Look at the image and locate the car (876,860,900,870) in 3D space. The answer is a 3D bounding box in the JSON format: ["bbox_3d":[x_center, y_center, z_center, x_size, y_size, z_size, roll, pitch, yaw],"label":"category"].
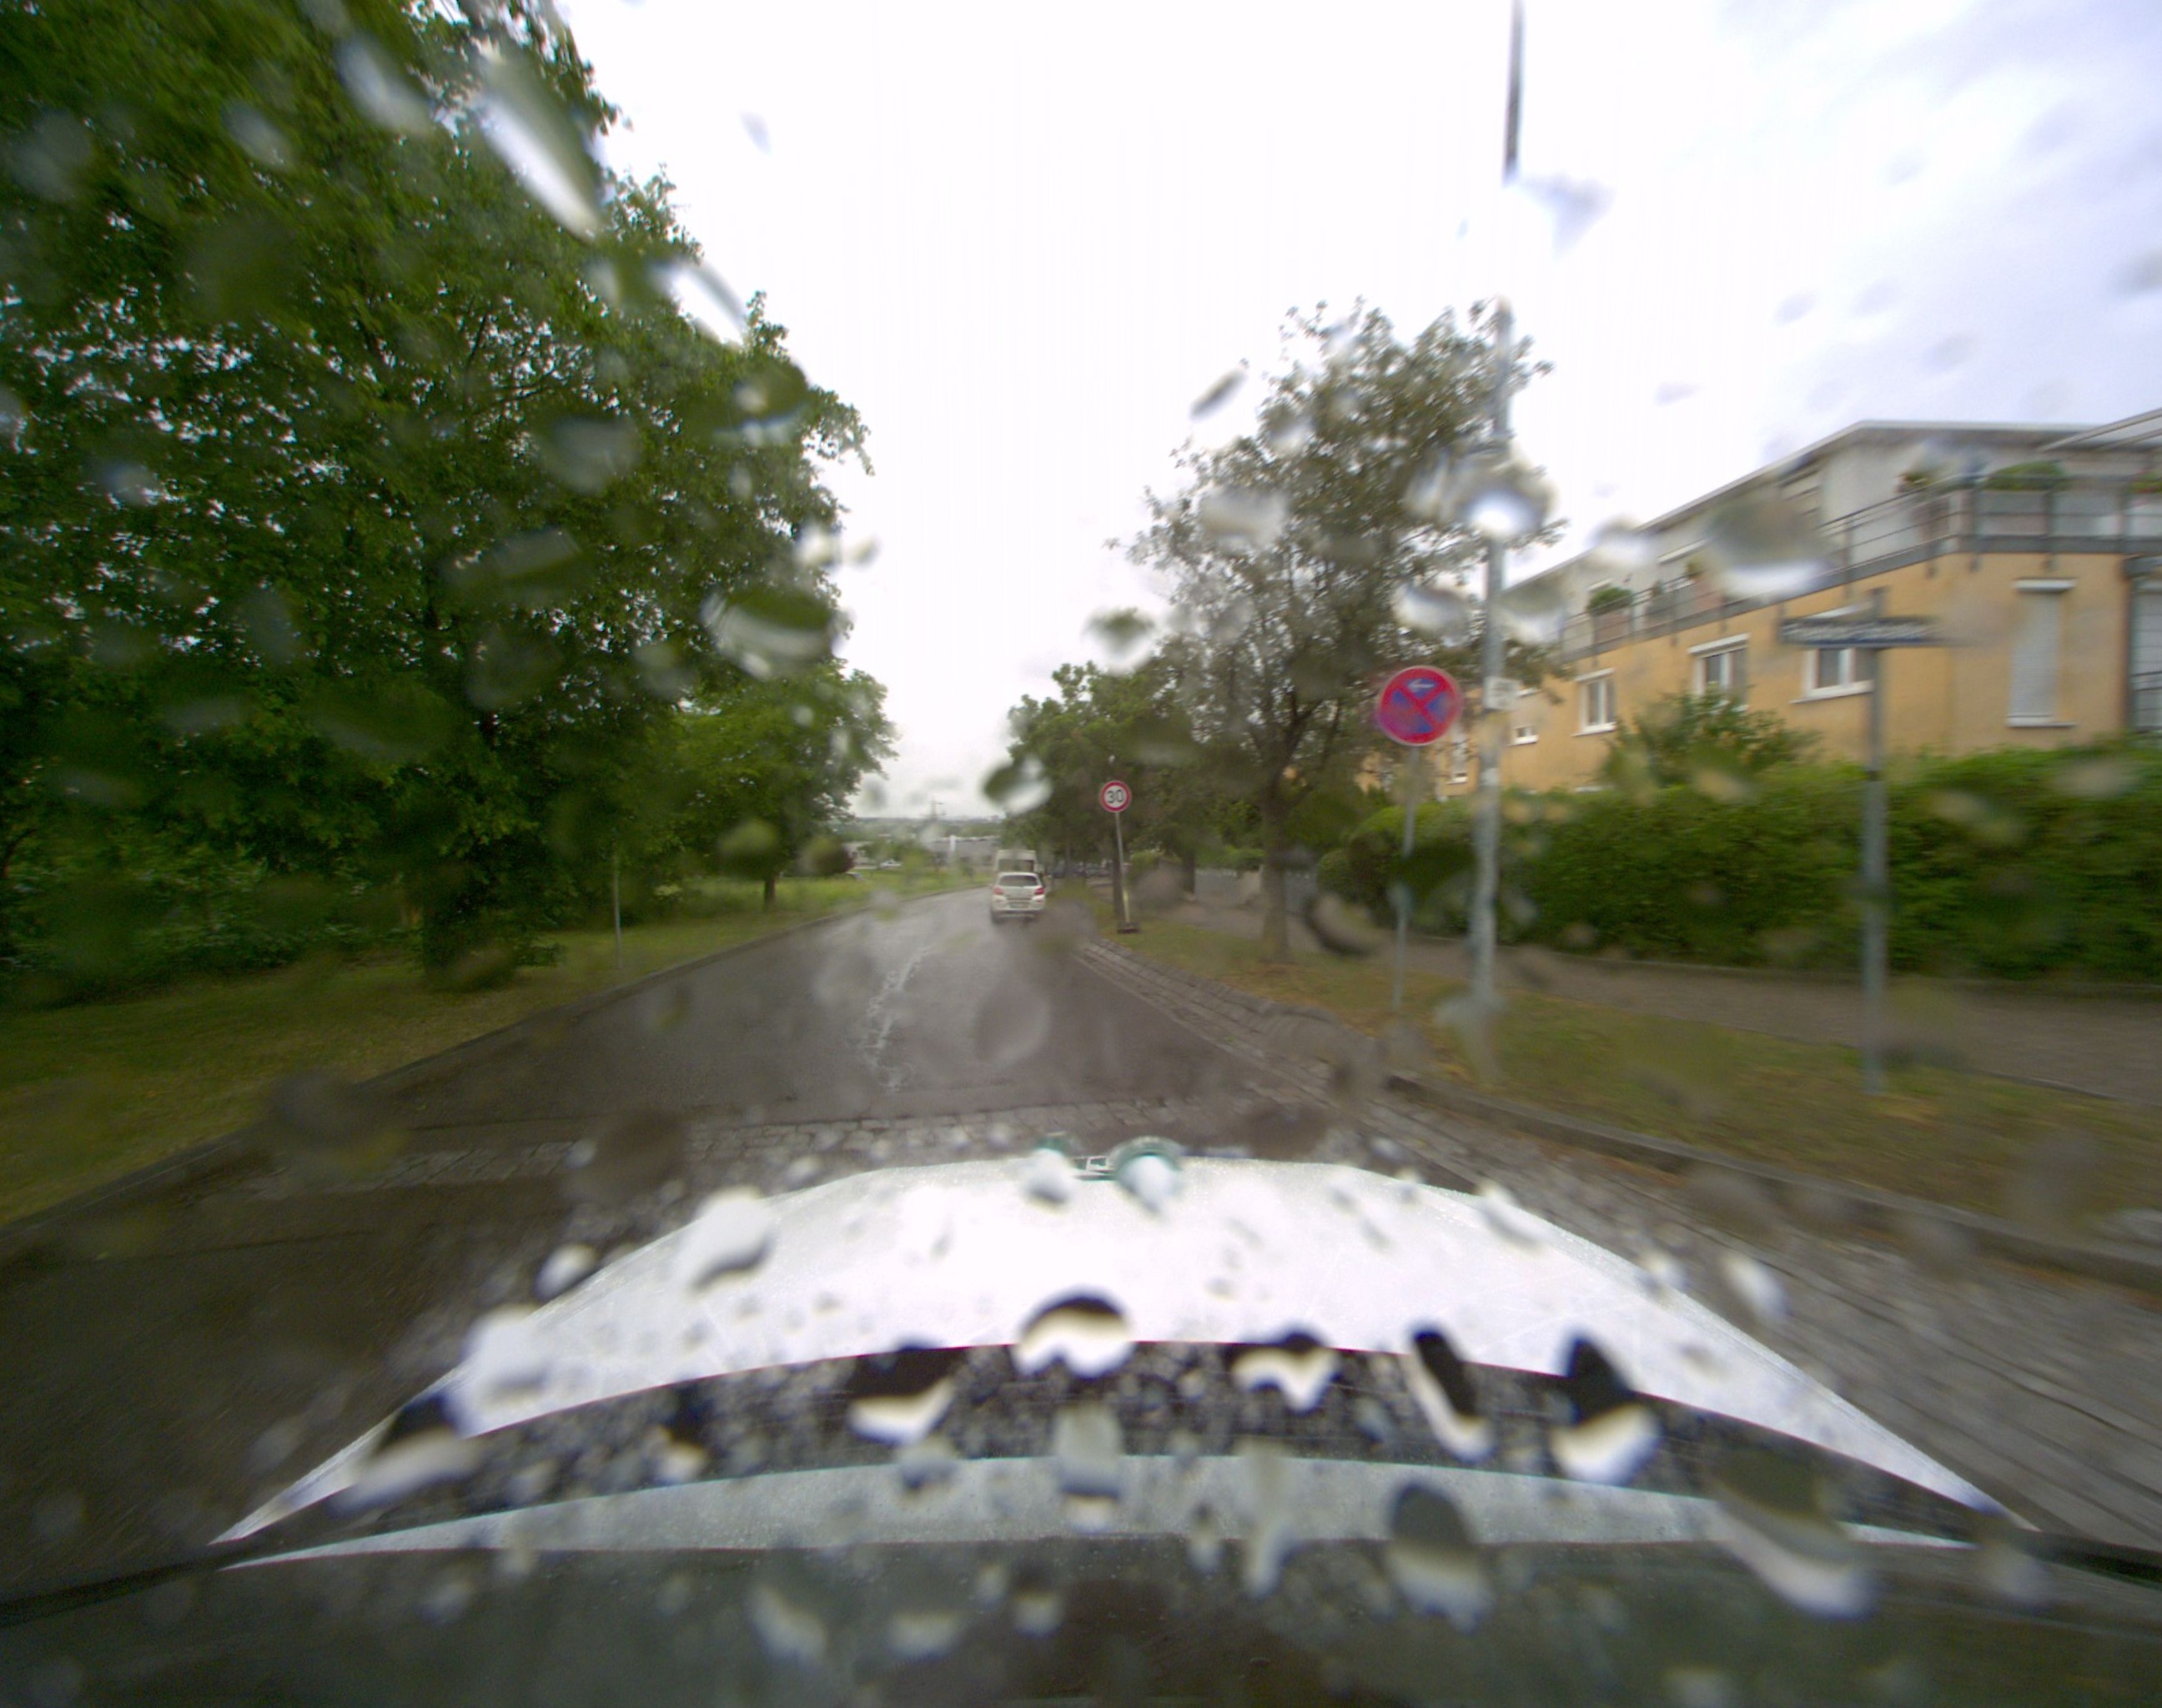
[{"bbox_3d":[-38.902,2.208,164.417,4.297,1.702,1.777,2,1,-40],"label":"car"}]

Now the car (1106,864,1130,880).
[{"bbox_3d":[4.141,1.988,90.106,1.673,1.552,3.715,1,1,19],"label":"car"}]

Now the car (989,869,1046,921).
[{"bbox_3d":[-2.050,1.225,25.623,1.604,1.503,3.716,0,-1,-7],"label":"car"}]

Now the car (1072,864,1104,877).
[{"bbox_3d":[0.945,2.139,105.858,3.844,1.547,1.779,0,-1,12],"label":"car"}]

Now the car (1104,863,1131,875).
[{"bbox_3d":[5.330,2.206,118.498,3.534,1.606,1.700,-2,-1,16],"label":"car"}]

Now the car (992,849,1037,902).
[{"bbox_3d":[-3.277,1.043,41.005,2.113,2.467,5.503,0,-1,-3],"label":"car"}]

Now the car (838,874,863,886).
[{"bbox_3d":[-33.802,3.768,119.362,3.950,1.597,1.792,0,0,45],"label":"car"}]
